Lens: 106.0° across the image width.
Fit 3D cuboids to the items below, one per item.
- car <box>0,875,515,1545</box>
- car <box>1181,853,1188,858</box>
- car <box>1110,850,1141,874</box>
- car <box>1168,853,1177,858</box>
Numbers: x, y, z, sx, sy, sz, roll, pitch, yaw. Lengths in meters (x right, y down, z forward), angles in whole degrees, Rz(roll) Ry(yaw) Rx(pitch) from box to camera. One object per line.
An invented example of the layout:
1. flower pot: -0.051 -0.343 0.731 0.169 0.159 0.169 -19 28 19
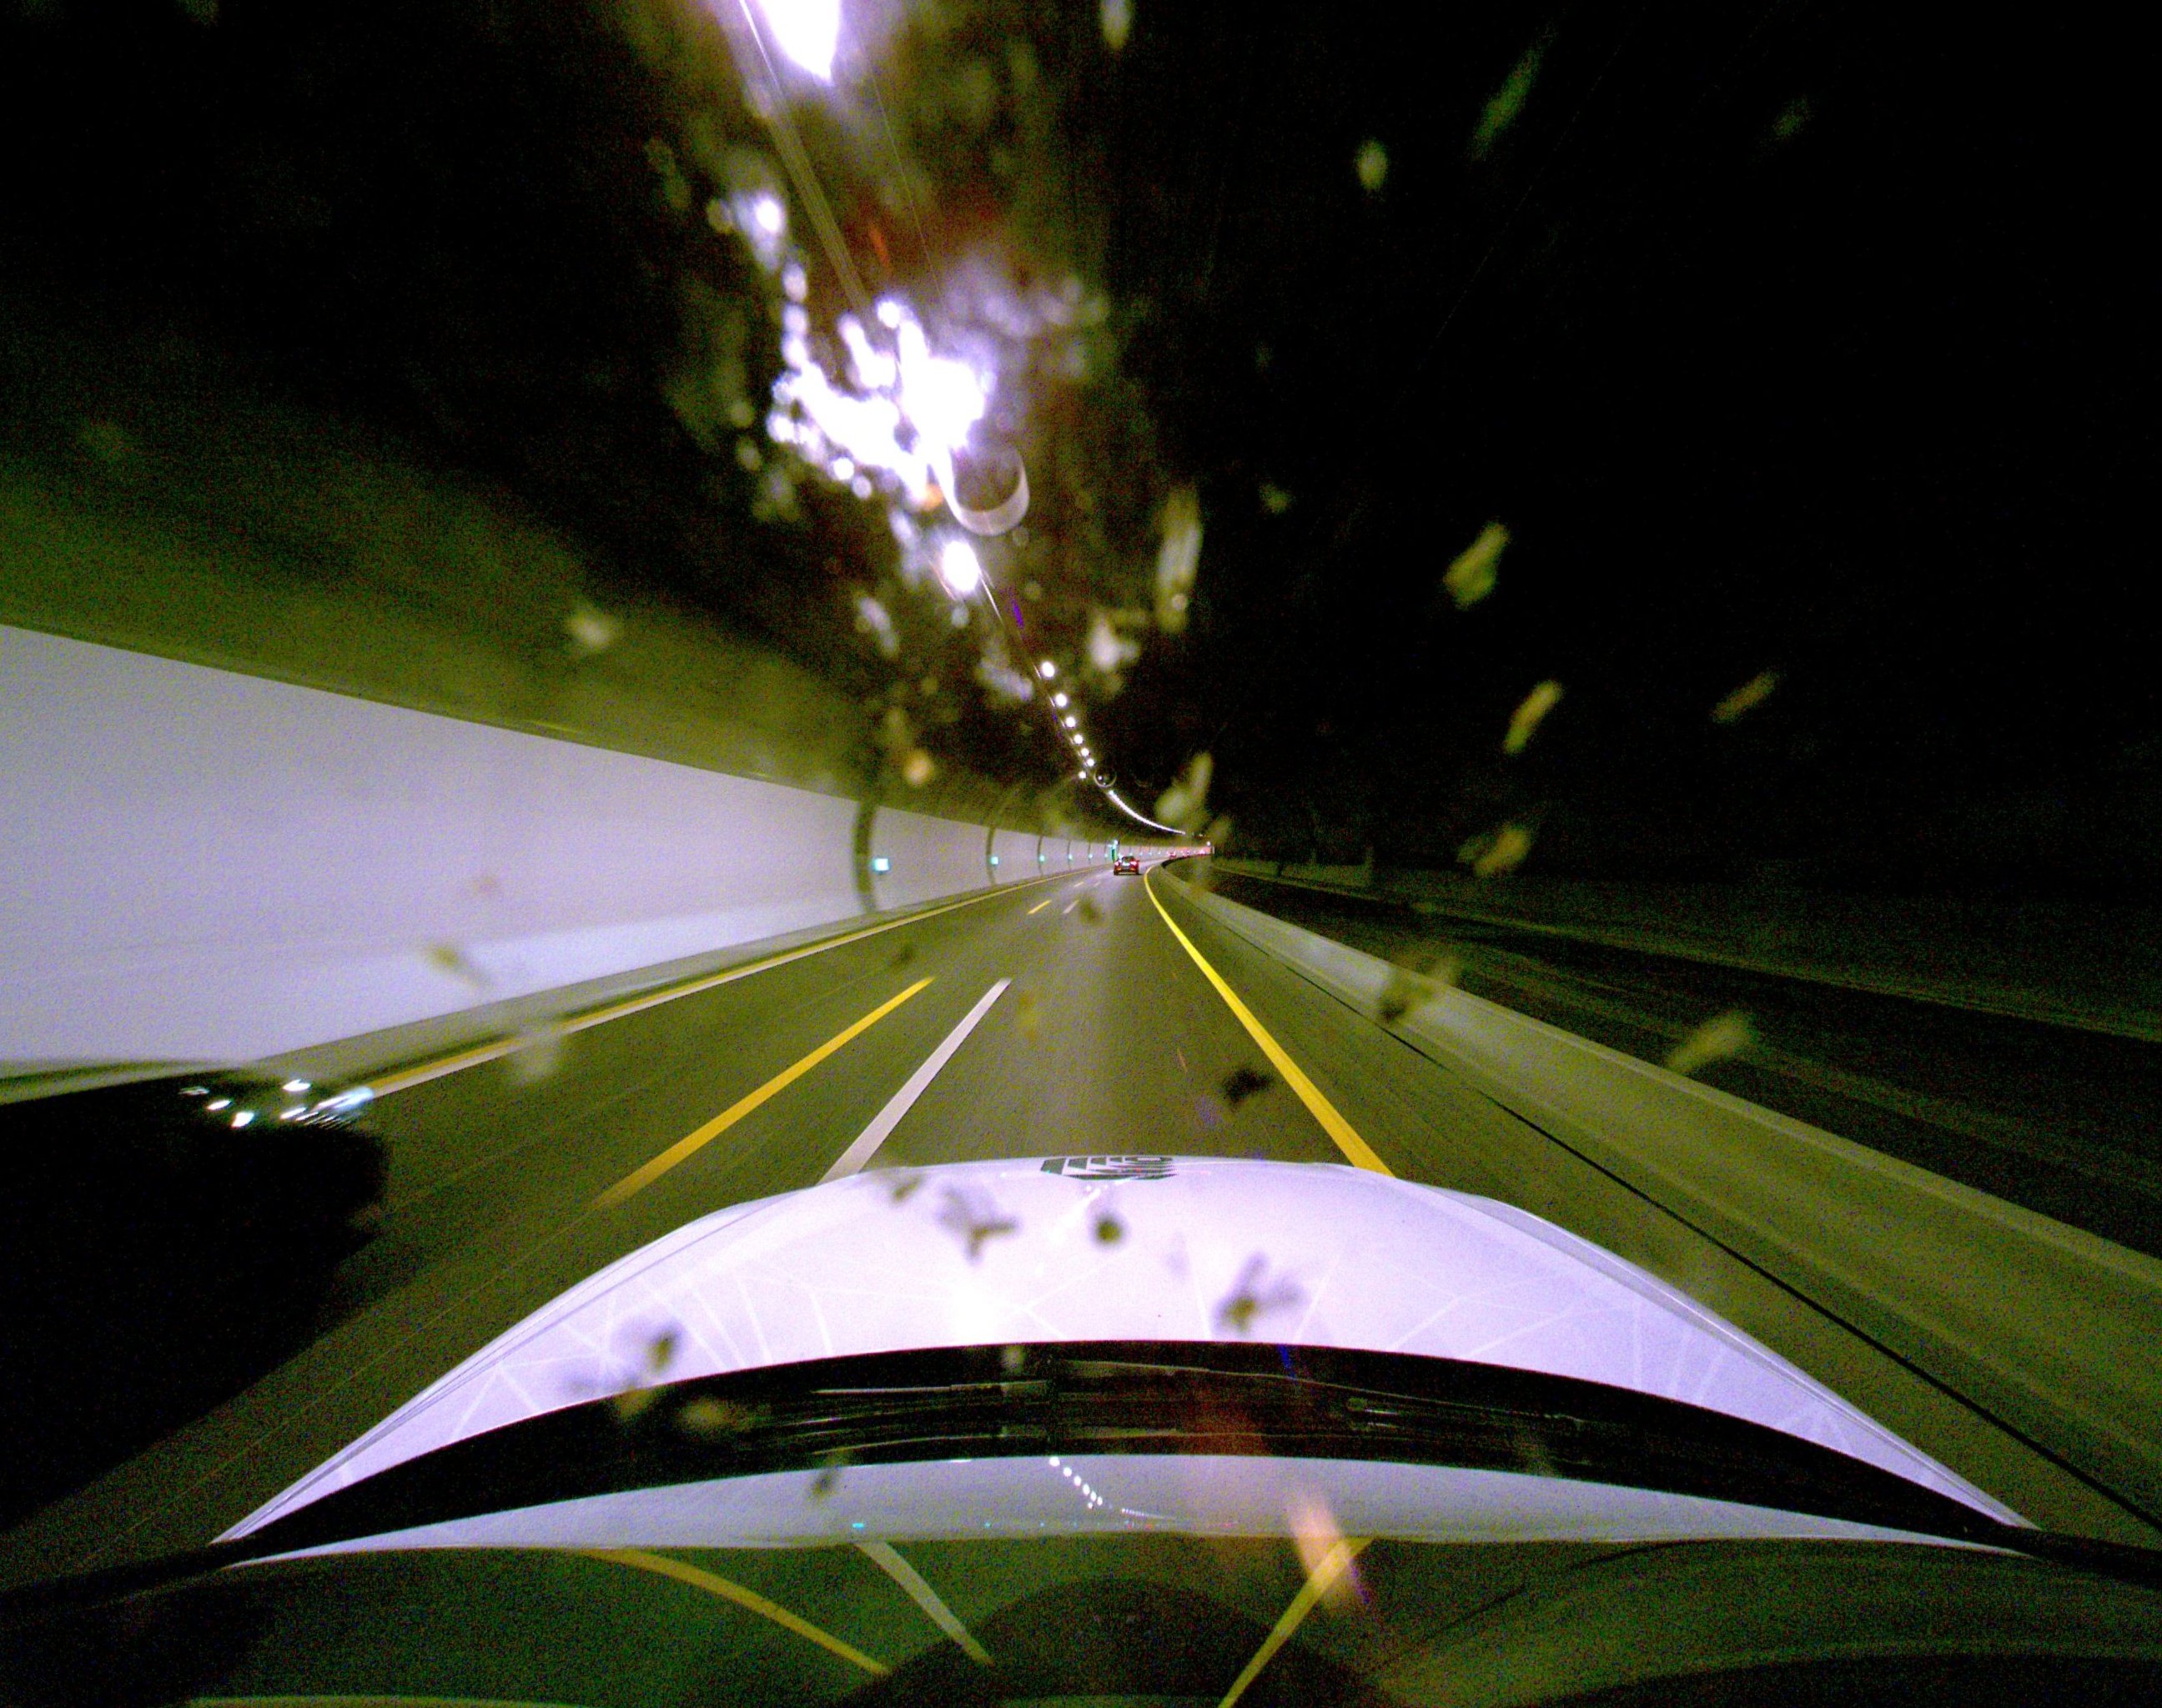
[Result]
1. car: -3.307 0.821 0.957 1.771 1.438 4.884 0 0 1
2. car: 29.154 0.531 229.174 1.584 1.333 3.764 -1 0 13
3. car: 3.408 0.571 61.725 2.130 1.706 4.006 -1 0 5
4. car: 25.736 0.368 228.079 2.150 1.486 4.013 -1 0 12
